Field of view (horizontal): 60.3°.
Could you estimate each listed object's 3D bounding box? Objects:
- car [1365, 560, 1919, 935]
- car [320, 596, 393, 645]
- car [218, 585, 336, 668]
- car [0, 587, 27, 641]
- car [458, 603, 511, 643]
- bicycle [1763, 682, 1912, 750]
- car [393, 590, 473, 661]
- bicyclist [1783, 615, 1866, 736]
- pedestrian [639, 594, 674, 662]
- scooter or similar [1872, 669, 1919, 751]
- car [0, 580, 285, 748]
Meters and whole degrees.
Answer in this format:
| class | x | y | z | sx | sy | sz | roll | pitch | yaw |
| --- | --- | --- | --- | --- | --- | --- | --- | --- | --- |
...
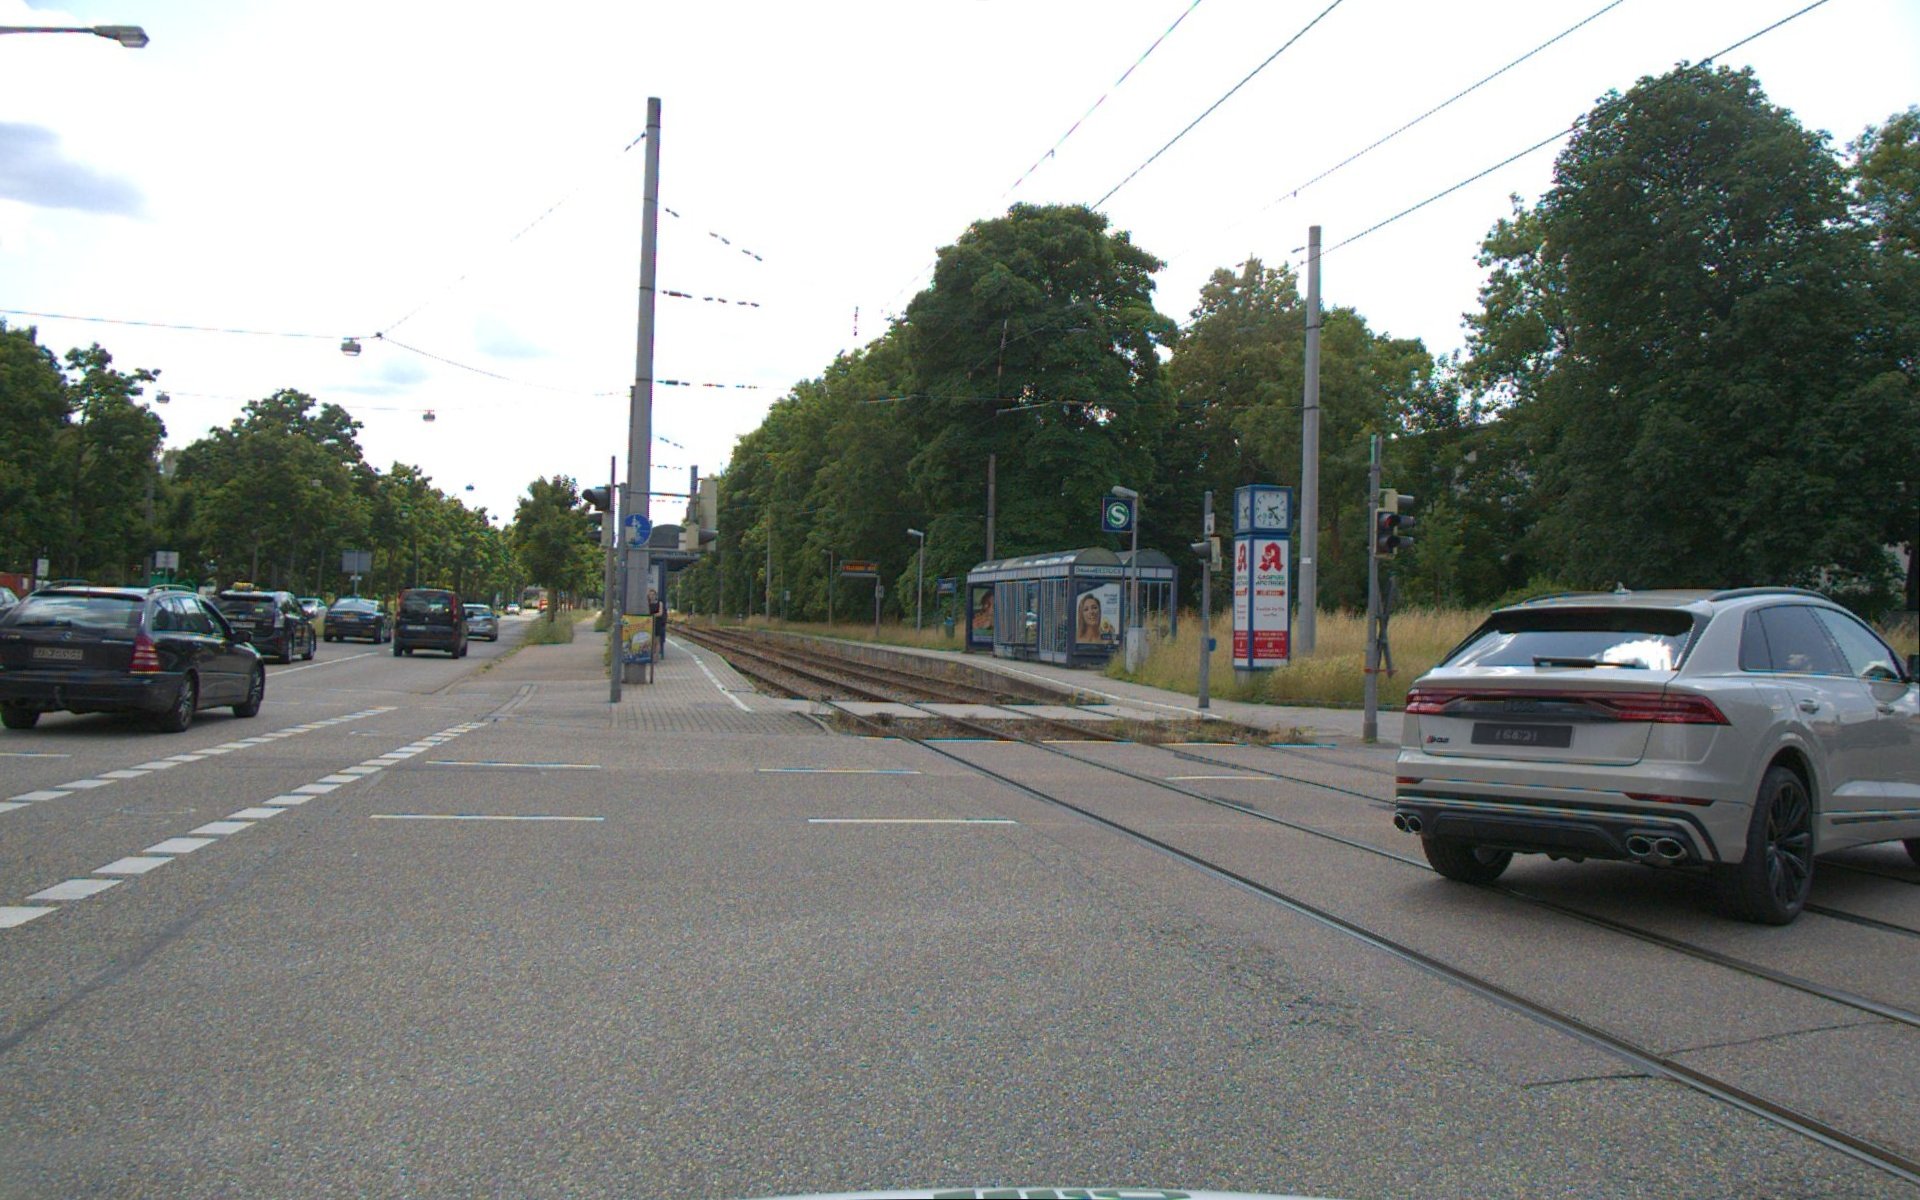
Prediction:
| class | x | y | z | sx | sy | sz | roll | pitch | yaw |
| --- | --- | --- | --- | --- | --- | --- | --- | --- | --- |
| car | 4.522 | 0.721 | 9.838 | 4.536 | 1.713 | 1.957 | 2 | -1 | -43 |
| car | -20.391 | 0.696 | 56.001 | 1.832 | 1.531 | 3.985 | 3 | -1 | -14 |
| car | -15.237 | 0.582 | 37.097 | 1.755 | 1.697 | 4.324 | 3 | -1 | -14 |
| car | -30.202 | 0.410 | 50.686 | 1.755 | 1.621 | 3.760 | 2 | -1 | -13 |
| car | -19.801 | 0.965 | 68.981 | 1.754 | 1.552 | 4.287 | 3 | -1 | -12 |
| bicycle | 11.188 | 1.476 | 21.092 | 1.690 | 0.778 | 0.554 | 3 | -1 | -10 |
| car | -14.684 | 0.704 | 46.224 | 1.729 | 1.808 | 3.895 | 3 | -1 | -13 |
| bicyclist | 11.000 | 0.954 | 21.052 | 0.823 | 1.501 | 0.454 | 1 | -1 | -10 |
| pedestrian | -6.927 | 0.633 | 37.778 | 0.644 | 1.540 | 0.714 | 2 | -1 | -21 |
| scooter or similar | 12.778 | 1.412 | 21.313 | 1.545 | 0.997 | 0.960 | 1 | -1 | -9 |
| car | -8.558 | 0.609 | 17.492 | 1.723 | 1.491 | 4.421 | 3 | -1 | -11 |
